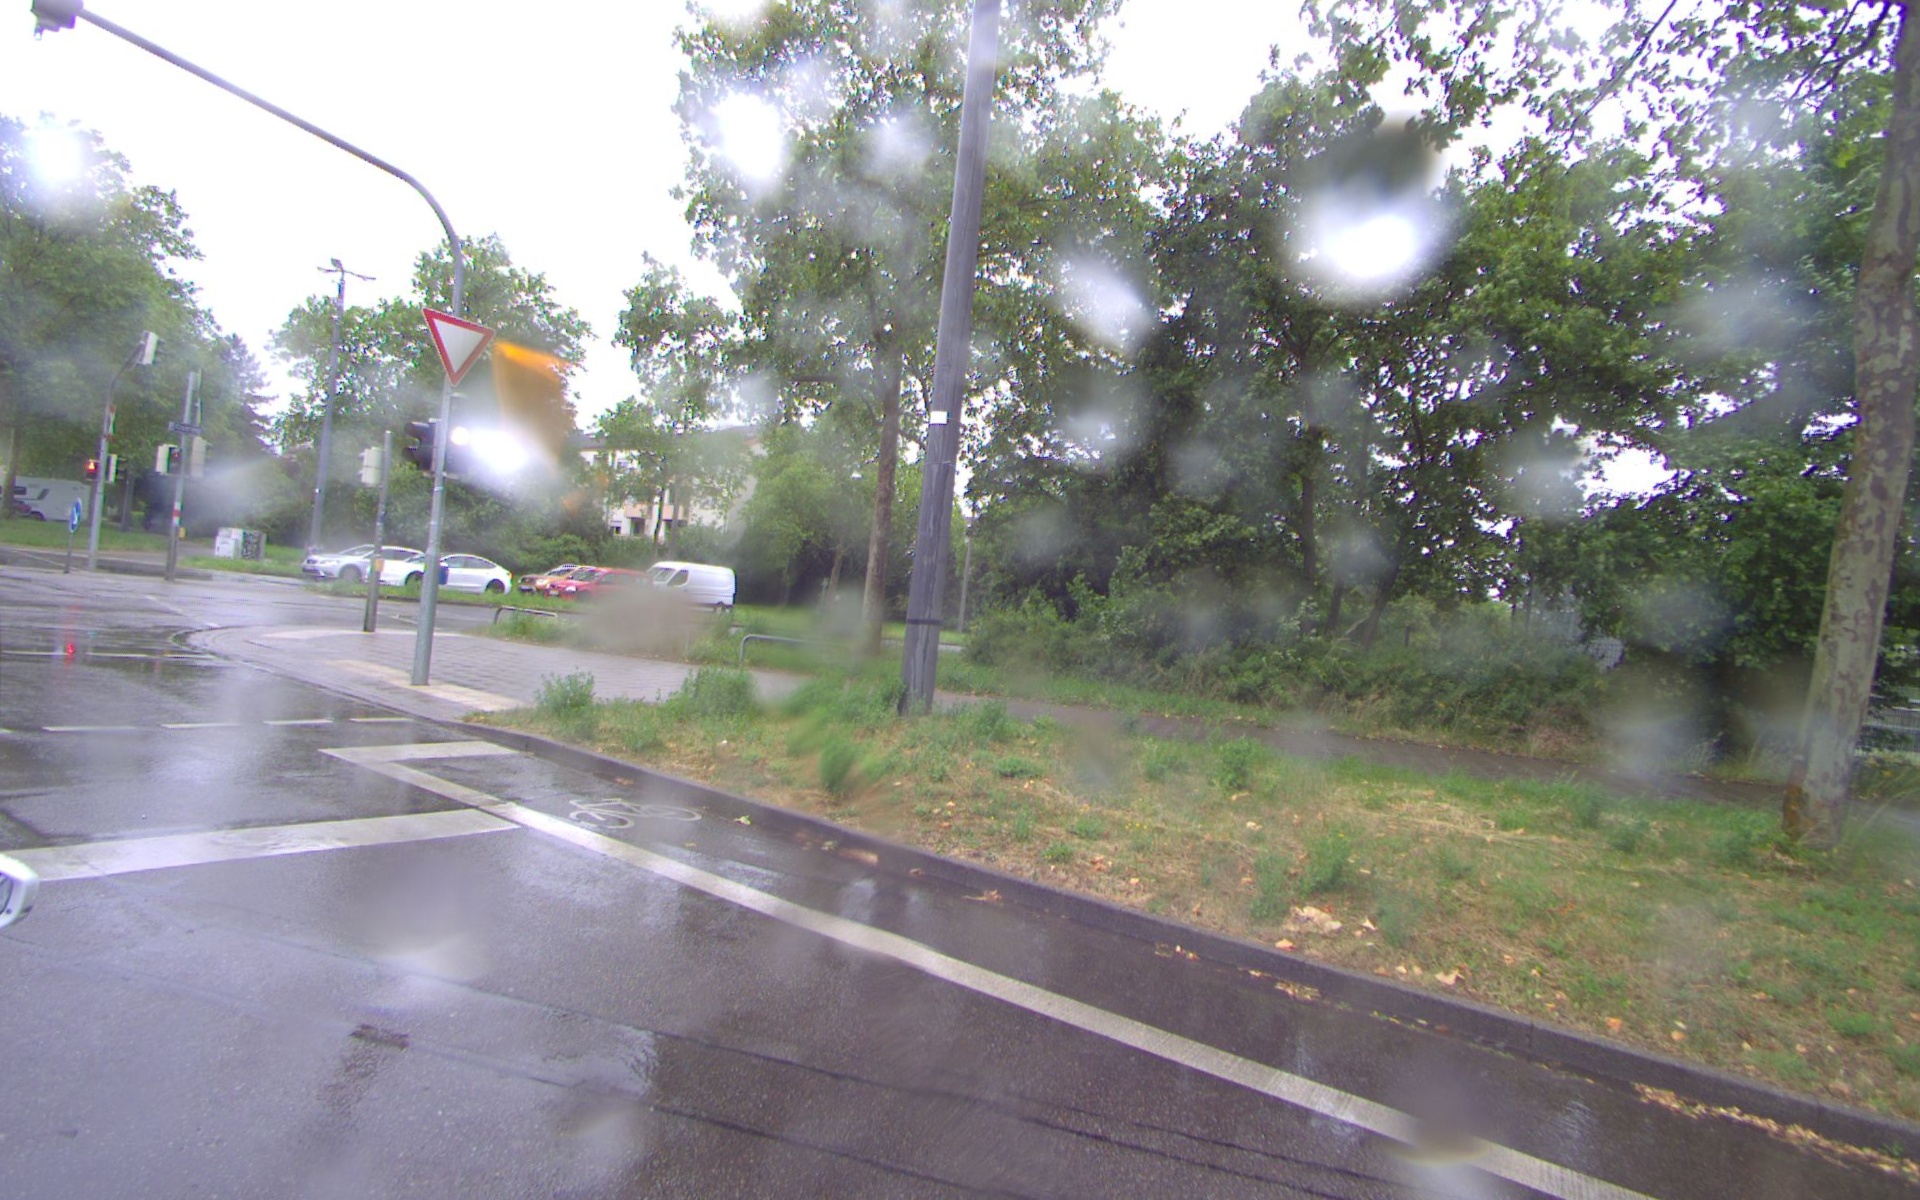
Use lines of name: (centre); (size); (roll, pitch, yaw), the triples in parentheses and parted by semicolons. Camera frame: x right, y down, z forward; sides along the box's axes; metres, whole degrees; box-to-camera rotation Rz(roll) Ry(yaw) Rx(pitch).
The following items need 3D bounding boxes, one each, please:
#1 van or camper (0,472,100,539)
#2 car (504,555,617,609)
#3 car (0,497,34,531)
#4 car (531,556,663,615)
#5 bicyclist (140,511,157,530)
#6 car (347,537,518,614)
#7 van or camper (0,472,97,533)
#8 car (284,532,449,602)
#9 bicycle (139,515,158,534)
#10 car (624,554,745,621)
van or camper: (-56.923, -5.902, 60.711); (7.296, 3.215, 3.226); (9, -2, -40)
car: (-16.413, -0.694, 41.510); (1.759, 1.625, 4.069); (7, -2, 26)
car: (-55.806, -5.139, 57.134); (4.424, 1.736, 1.980); (9, -2, -37)
car: (-13.829, -0.519, 38.625); (1.760, 1.625, 4.615); (6, -2, 29)
bicyclist: (-66.227, -6.471, 82.091); (0.859, 1.441, 0.945); (8, -2, -43)
car: (-17.147, -0.742, 32.979); (1.900, 1.849, 4.608); (7, -2, 26)
van or camper: (-63.176, -6.709, 67.506); (7.388, 3.215, 3.231); (9, -2, -36)
car: (-20.142, -1.063, 34.377); (1.900, 1.710, 4.407); (7, -2, 26)
bicycle: (-66.003, -6.135, 81.804); (0.859, 1.441, 2.671); (8, -2, -43)
car: (-12.930, -0.534, 47.668); (1.966, 2.419, 5.619); (6, -2, 29)
